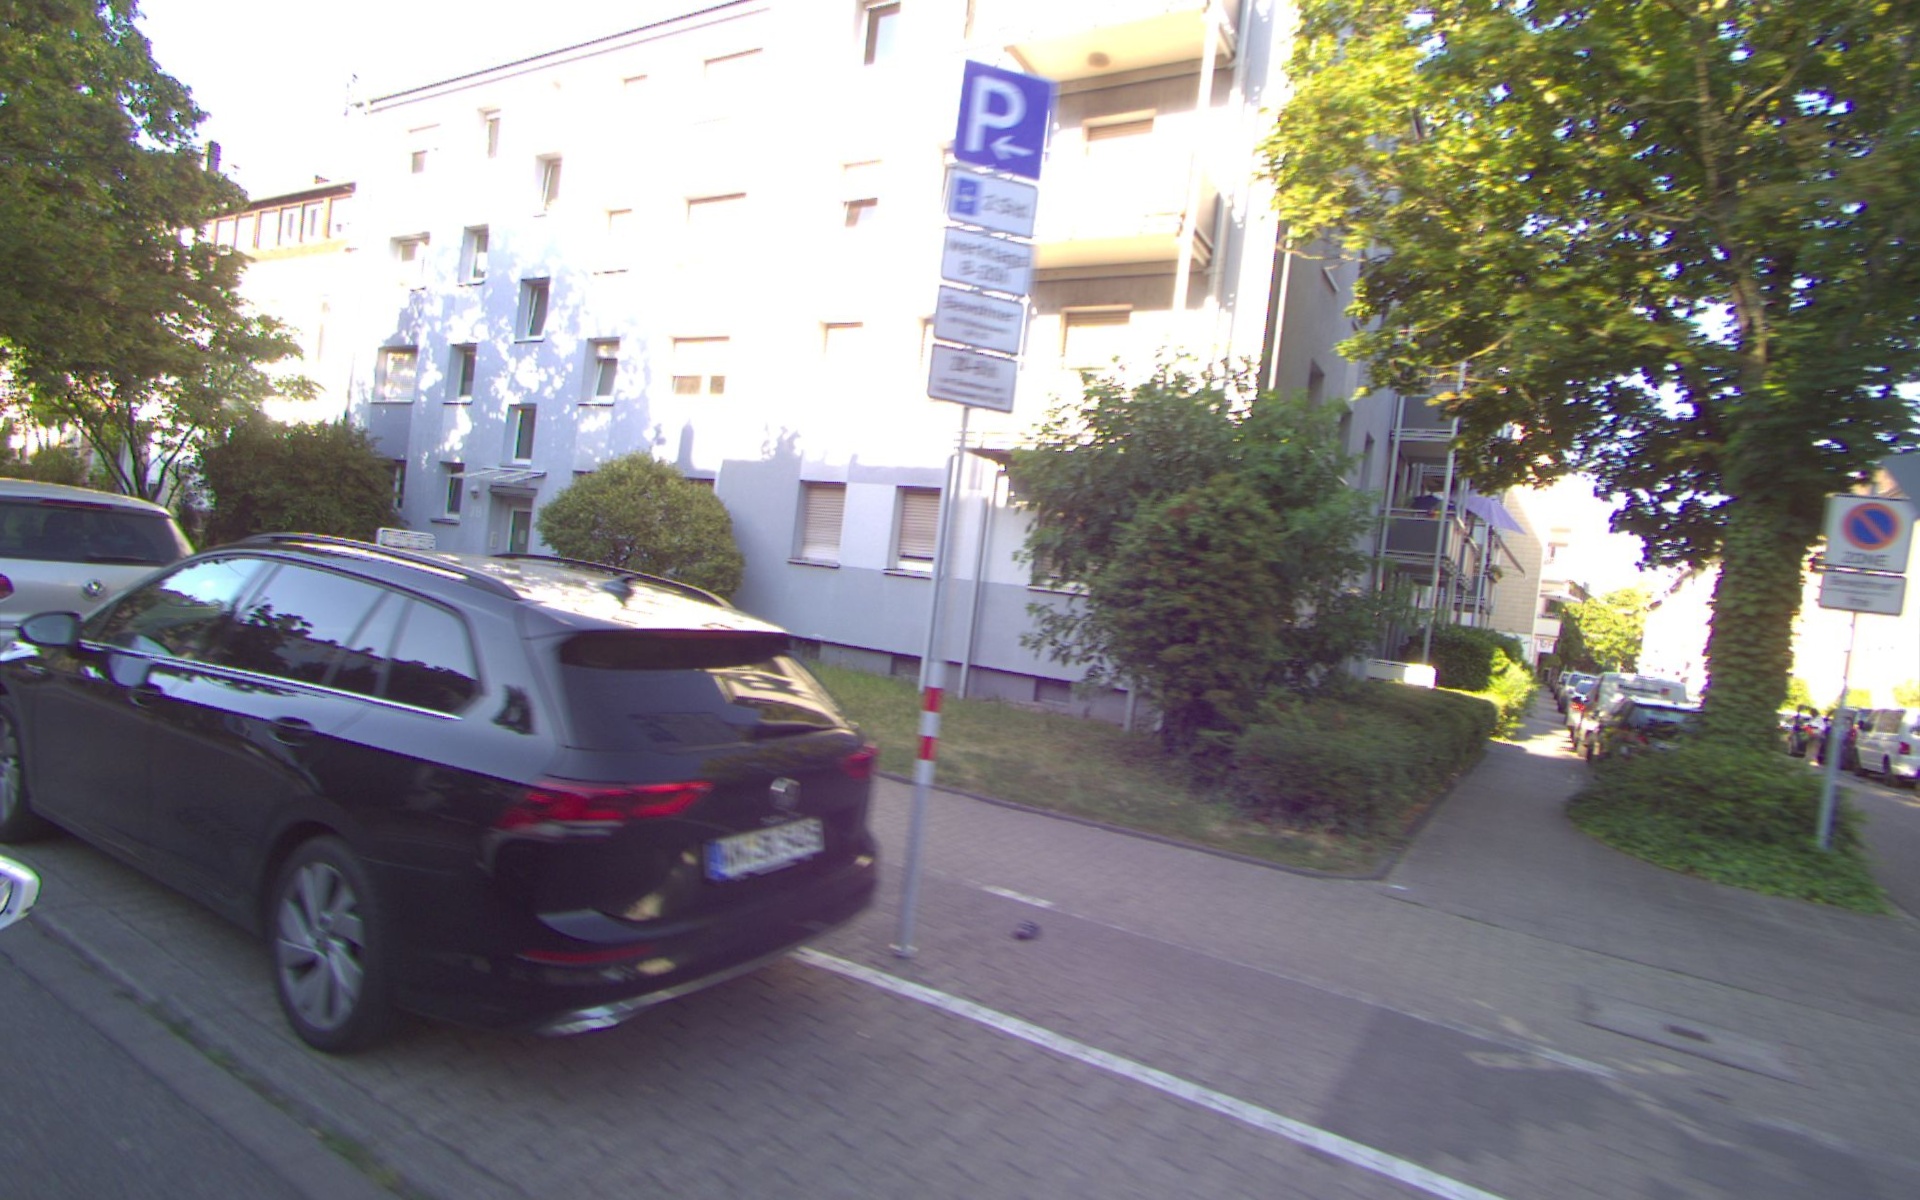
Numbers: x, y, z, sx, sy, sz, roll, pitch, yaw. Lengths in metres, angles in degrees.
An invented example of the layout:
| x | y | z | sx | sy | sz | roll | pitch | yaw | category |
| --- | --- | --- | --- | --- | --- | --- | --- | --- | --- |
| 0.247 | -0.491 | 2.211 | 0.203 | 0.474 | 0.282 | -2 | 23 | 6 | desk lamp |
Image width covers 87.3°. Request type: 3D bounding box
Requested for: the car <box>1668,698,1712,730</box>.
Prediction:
| x | y | z | sx | sy | sz | roll | pitch | yaw | category |
| --- | --- | --- | --- | --- | --- | --- | --- | --- | --- |
| 43.558 | 6.793 | 60.117 | 1.583 | 1.628 | 3.648 | 8 | -1 | 30 | car |

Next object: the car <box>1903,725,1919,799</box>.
| x | y | z | sx | sy | sz | roll | pitch | yaw | category |
| --- | --- | --- | --- | --- | --- | --- | --- | --- | --- |
| 20.684 | 3.450 | 20.200 | 1.606 | 1.575 | 3.648 | 8 | -1 | 30 | car |

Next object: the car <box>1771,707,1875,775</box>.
| x | y | z | sx | sy | sz | roll | pitch | yaw | category |
| --- | --- | --- | --- | --- | --- | --- | --- | --- | --- |
| 26.673 | 4.317 | 31.208 | 1.632 | 1.709 | 3.648 | 8 | -1 | 30 | car |

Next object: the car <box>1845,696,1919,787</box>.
| x | y | z | sx | sy | sz | roll | pitch | yaw | category |
| --- | --- | --- | --- | --- | --- | --- | --- | --- | --- |
| 23.829 | 3.569 | 24.899 | 1.932 | 2.035 | 4.246 | 8 | -1 | 31 | car |

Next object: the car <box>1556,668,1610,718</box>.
| x | y | z | sx | sy | sz | roll | pitch | yaw | category |
| --- | --- | --- | --- | --- | --- | --- | --- | --- | --- |
| 28.873 | 4.334 | 46.721 | 1.730 | 2.000 | 4.247 | 8 | -1 | 30 | car |

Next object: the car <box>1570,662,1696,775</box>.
| x | y | z | sx | sy | sz | roll | pitch | yaw | category |
| --- | --- | --- | --- | --- | --- | --- | --- | --- | --- |
| 14.156 | 2.478 | 21.385 | 1.730 | 1.901 | 4.247 | 8 | -1 | 30 | car |

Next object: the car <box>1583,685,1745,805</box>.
| x | y | z | sx | sy | sz | roll | pitch | yaw | category |
| --- | --- | --- | --- | --- | --- | --- | --- | --- | --- |
| 11.576 | 2.329 | 16.802 | 1.701 | 1.478 | 4.167 | 8 | -1 | 30 | car |

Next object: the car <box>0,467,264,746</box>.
| x | y | z | sx | sy | sz | roll | pitch | yaw | category |
| --- | --- | --- | --- | --- | --- | --- | --- | --- | --- |
| -6.965 | -0.124 | 7.052 | 4.034 | 1.575 | 1.758 | 7 | -1 | 30 | car |

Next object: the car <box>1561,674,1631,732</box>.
| x | y | z | sx | sy | sz | roll | pitch | yaw | category |
| --- | --- | --- | --- | --- | --- | --- | --- | --- | --- |
| 22.258 | 3.623 | 35.324 | 1.730 | 1.663 | 4.247 | 8 | -1 | 30 | car |

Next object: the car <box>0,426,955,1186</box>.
| x | y | z | sx | sy | sz | roll | pitch | yaw | category |
| --- | --- | --- | --- | --- | --- | --- | --- | --- | --- |
| -2.332 | 0.359 | 4.188 | 4.183 | 1.706 | 1.757 | 7 | -1 | 33 | car |
